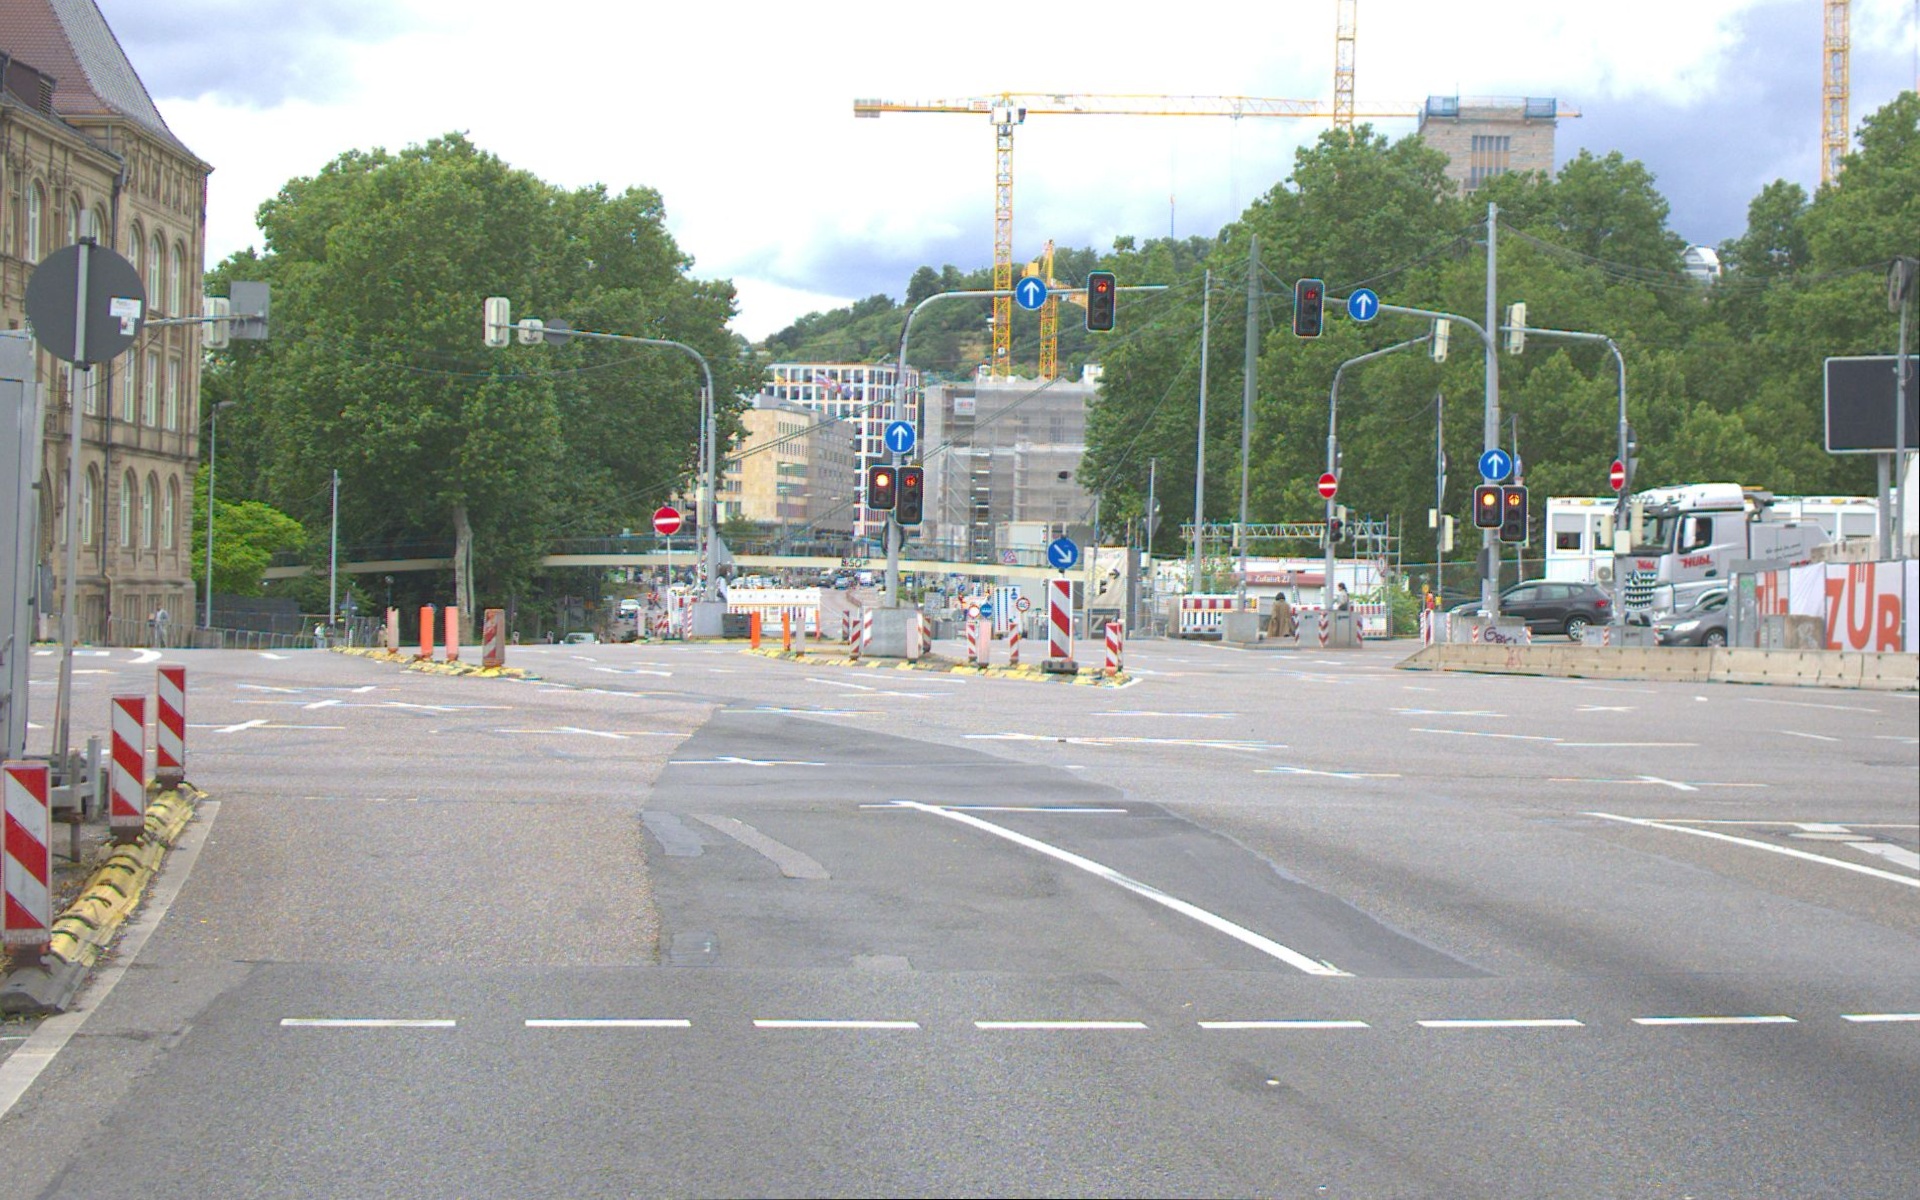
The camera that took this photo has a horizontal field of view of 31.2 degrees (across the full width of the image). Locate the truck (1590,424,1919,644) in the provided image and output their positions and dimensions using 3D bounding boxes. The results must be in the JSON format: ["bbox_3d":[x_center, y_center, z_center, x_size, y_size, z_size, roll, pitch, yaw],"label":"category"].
[{"bbox_3d":[19.983,-1.494,80.995,9.712,4.943,3.114,1,0,-18],"label":"truck"}]

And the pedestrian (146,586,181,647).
[{"bbox_3d":[-26.683,0.541,115.192,0.950,2.007,0.766,1,0,2],"label":"pedestrian"}]

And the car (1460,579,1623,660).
[{"bbox_3d":[15.149,0.484,89.539,3.990,2.007,1.999,1,0,15],"label":"car"}]

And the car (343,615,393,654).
[{"bbox_3d":[-29.716,1.734,172.734,1.993,1.831,4.001,1,1,-3],"label":"car"}]

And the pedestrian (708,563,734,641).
[{"bbox_3d":[-5.599,0.044,80.694,0.585,1.834,0.604,1,0,-4],"label":"pedestrian"}]
